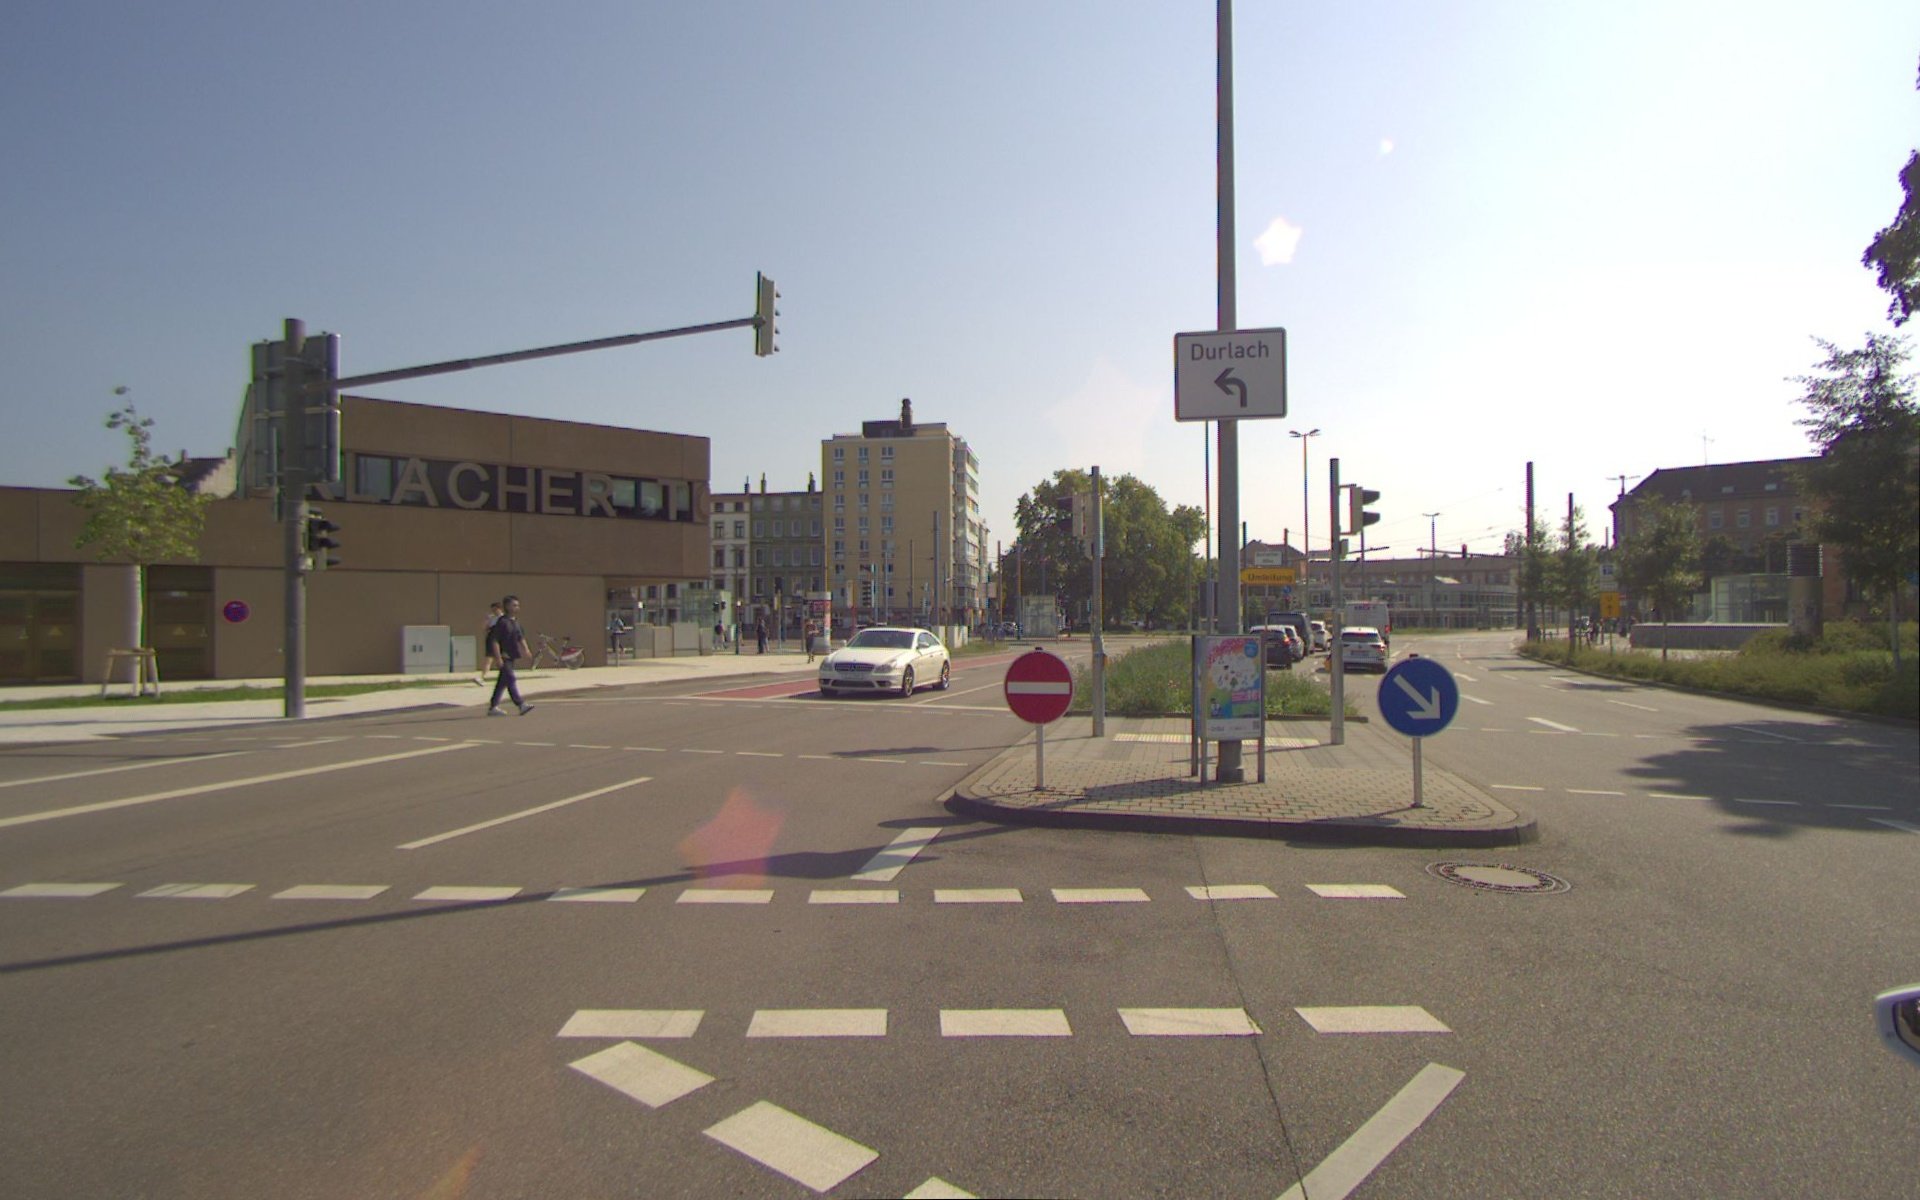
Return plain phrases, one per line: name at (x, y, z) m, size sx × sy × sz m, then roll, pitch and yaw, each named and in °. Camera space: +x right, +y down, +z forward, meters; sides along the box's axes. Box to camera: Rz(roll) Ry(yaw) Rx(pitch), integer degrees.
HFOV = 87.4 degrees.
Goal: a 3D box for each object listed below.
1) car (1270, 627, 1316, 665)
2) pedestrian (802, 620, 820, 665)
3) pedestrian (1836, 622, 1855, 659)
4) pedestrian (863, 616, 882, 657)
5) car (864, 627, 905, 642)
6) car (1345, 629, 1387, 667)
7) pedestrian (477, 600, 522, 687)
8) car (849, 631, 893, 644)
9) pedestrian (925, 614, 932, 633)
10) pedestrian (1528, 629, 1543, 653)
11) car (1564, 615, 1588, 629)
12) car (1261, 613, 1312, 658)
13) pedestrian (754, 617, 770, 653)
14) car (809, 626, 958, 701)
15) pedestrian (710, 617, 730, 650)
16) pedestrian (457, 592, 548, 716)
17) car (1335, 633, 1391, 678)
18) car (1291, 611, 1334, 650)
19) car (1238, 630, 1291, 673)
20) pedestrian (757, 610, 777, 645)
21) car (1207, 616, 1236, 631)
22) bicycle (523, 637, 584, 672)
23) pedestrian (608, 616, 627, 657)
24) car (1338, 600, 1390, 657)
car at (13.629, 1.857, 40.997) m, size 1.465 × 1.434 × 3.646 m, roll 0°, pitch -1°, yaw 24°
pedestrian at (-5.936, 1.674, 39.895) m, size 0.667 × 1.783 × 0.877 m, roll 0°, pitch -1°, yaw -12°
pedestrian at (39.925, 1.811, 45.287) m, size 0.608 × 1.660 × 0.531 m, roll -1°, pitch -2°, yaw 42°
pedestrian at (-4.056, 1.679, 46.456) m, size 0.832 × 1.802 × 0.876 m, roll -1°, pitch 1°, yaw -5°
car at (-7.359, 3.350, 97.896) m, size 3.673 × 1.411 × 1.588 m, roll 0°, pitch -1°, yaw 9°
car at (16.053, 1.887, 39.770) m, size 1.465 × 1.421 × 3.942 m, roll 0°, pitch -2°, yaw 22°
pedestrian at (-10.002, 0.945, 21.824) m, size 0.681 × 1.857 × 0.571 m, roll 0°, pitch -1°, yaw 5°
car at (-8.411, 3.514, 94.904) m, size 3.764 × 1.195 × 1.578 m, roll 0°, pitch -4°, yaw 12°
pedestrian at (-2.813, 2.157, 90.774) m, size 0.447 × 1.707 × 0.547 m, roll 0°, pitch 1°, yaw 21°
pedestrian at (33.711, 2.390, 58.877) m, size 0.625 × 1.380 × 0.634 m, roll -1°, pitch -1°, yaw 18°
car at (88.924, 3.204, 145.001) m, size 2.383 × 2.040 × 4.758 m, roll -1°, pitch -2°, yaw 38°
car at (15.593, 1.672, 47.830) m, size 1.991 × 2.034 × 4.682 m, roll 0°, pitch -2°, yaw 23°
pedestrian at (-8.862, 1.556, 44.945) m, size 0.489 × 1.601 × 0.507 m, roll 0°, pitch 1°, yaw 23°
car at (-1.505, 1.277, 21.723) m, size 1.810 × 1.379 × 4.822 m, roll 0°, pitch -1°, yaw 13°
pedestrian at (-14.002, 1.957, 58.604) m, size 0.818 × 1.843 × 0.779 m, roll 1°, pitch -3°, yaw 8°
pedestrian at (-7.101, 0.831, 15.618) m, size 1.061 × 1.864 × 0.730 m, roll -1°, pitch -1°, yaw 13°
car at (13.447, 1.811, 33.577) m, size 1.657 × 1.405 × 3.634 m, roll 0°, pitch -2°, yaw 22°
car at (19.235, 1.663, 54.676) m, size 1.991 × 2.034 × 4.682 m, roll 0°, pitch -2°, yaw 22°
car at (10.681, 1.752, 35.072) m, size 1.673 × 1.386 × 3.965 m, roll 0°, pitch -2°, yaw 18°
pedestrian at (-10.312, 1.452, 53.659) m, size 0.868 × 1.844 × 0.892 m, roll -1°, pitch 1°, yaw -20°
car at (37.321, 3.373, 143.222) m, size 3.921 × 2.041 × 2.000 m, roll 0°, pitch 1°, yaw 20°
bicycle at (-12.143, 1.607, 30.021) m, size 1.599 × 0.968 × 0.654 m, roll 1°, pitch 0°, yaw -39°
pedestrian at (-14.760, 1.567, 43.292) m, size 0.526 × 1.718 × 0.603 m, roll 1°, pitch 2°, yaw 42°
car at (19.275, 1.380, 47.806) m, size 2.154 × 2.582 × 4.681 m, roll 0°, pitch -2°, yaw 24°
